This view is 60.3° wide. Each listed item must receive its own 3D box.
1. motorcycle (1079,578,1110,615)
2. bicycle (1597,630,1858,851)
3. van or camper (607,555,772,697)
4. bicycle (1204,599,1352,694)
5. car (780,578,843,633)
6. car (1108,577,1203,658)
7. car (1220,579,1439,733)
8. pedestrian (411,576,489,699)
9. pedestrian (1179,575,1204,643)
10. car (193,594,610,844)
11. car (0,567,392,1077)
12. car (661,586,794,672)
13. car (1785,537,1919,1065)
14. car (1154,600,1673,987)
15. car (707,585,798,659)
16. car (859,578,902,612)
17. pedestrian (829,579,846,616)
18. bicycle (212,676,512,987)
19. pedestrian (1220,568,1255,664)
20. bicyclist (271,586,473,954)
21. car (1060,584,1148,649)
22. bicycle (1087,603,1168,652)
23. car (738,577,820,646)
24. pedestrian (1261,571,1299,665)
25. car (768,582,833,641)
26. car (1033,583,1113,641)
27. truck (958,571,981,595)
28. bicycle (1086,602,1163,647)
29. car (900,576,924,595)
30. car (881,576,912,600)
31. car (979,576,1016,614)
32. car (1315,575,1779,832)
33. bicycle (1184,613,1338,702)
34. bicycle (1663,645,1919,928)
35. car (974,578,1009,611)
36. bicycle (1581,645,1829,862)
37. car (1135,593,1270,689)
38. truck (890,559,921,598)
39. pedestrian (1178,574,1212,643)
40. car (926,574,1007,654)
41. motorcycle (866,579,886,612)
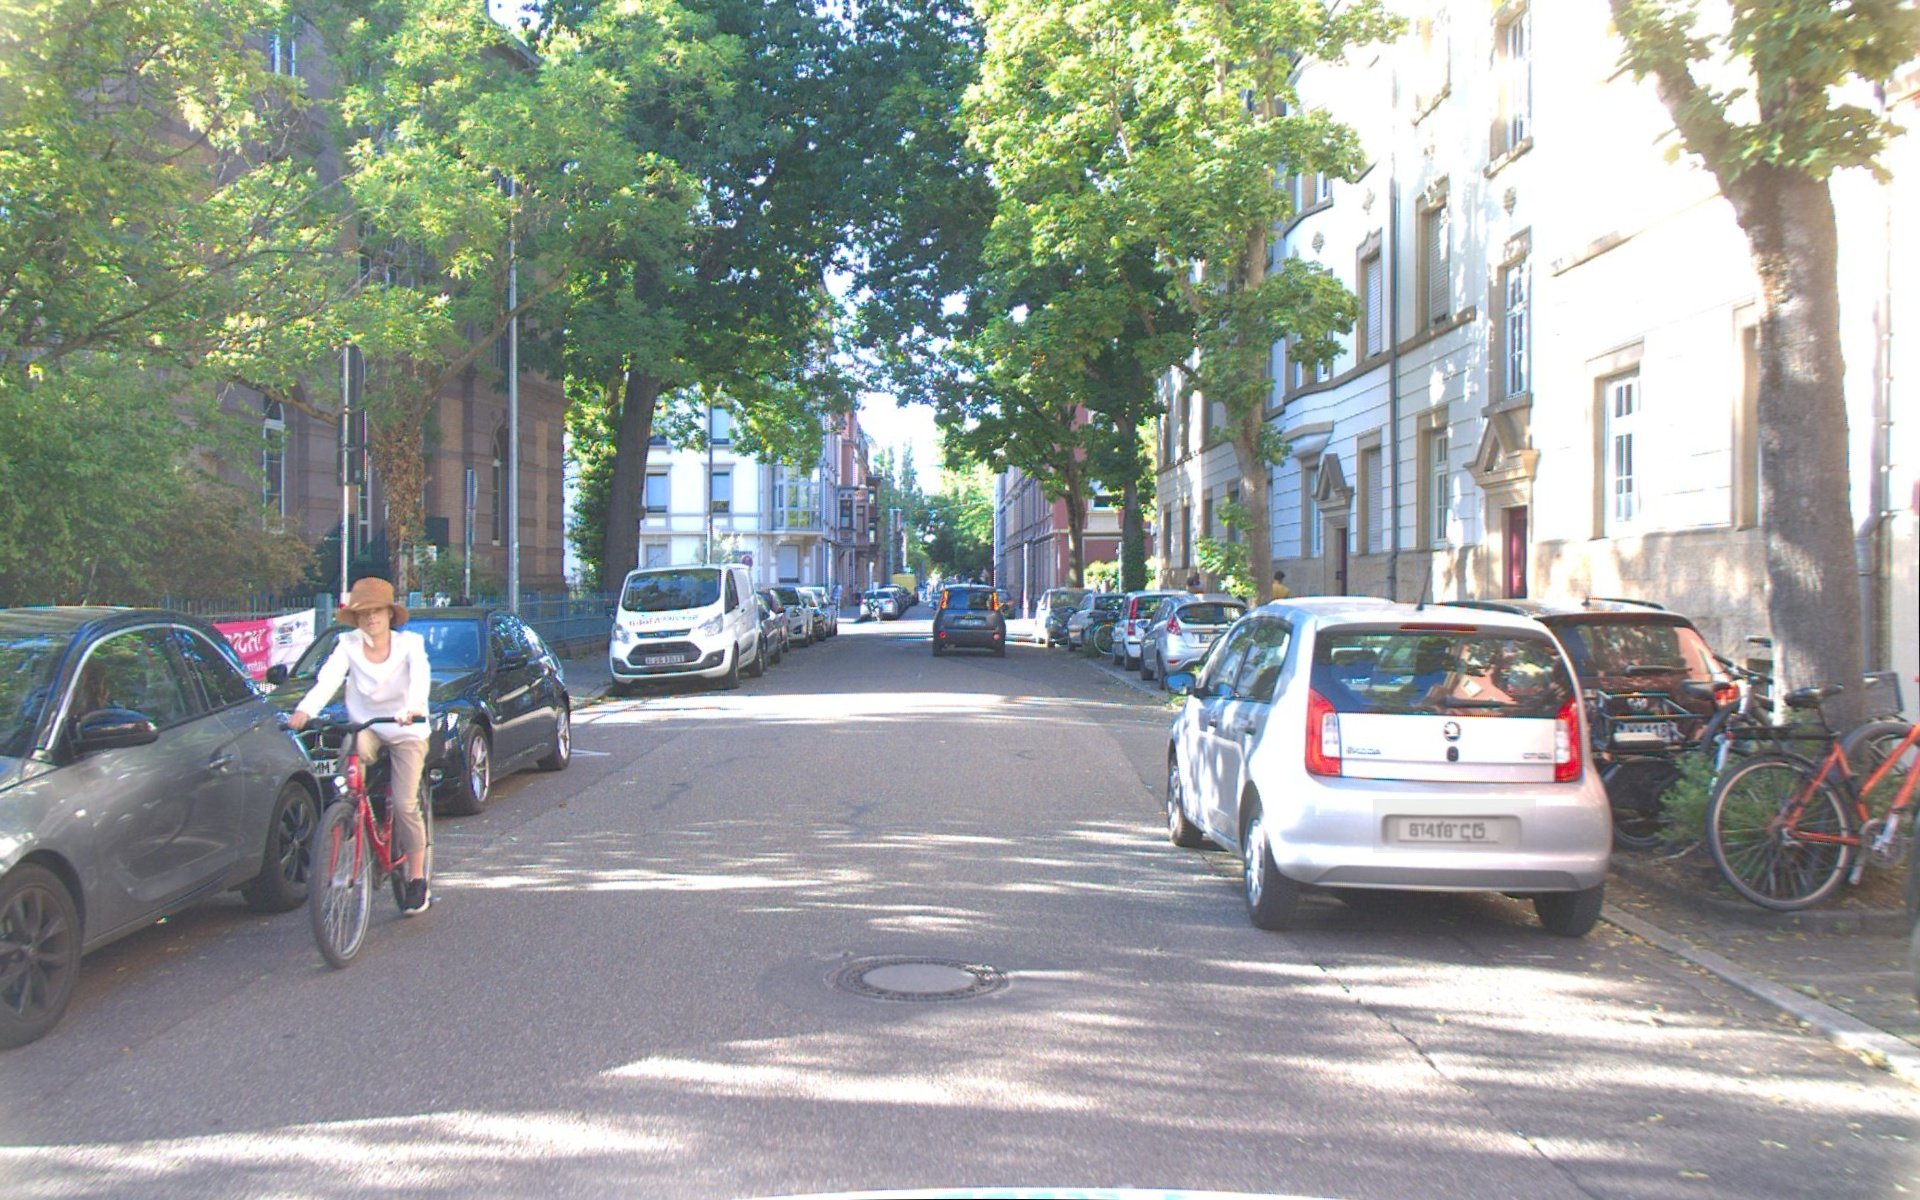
[{"bbox_3d":[5.628,-0.152,69.075,0.998,1.428,2.195,0,3,11],"label":"motorcycle"},{"bbox_3d":[4.243,0.769,9.168,1.281,1.160,0.328,-1,1,-1],"label":"bicycle"},{"bbox_3d":[-4.349,0.353,27.456,1.883,2.014,5.460,-3,1,-2],"label":"van or camper"},{"bbox_3d":[4.519,0.656,23.582,1.929,1.250,0.760,-2,0,0],"label":"bicycle"},{"bbox_3d":[-4.745,0.151,53.213,1.662,1.577,3.918,-3,1,-1],"label":"car"},{"bbox_3d":[3.890,0.303,33.306,1.489,1.537,3.543,0,1,0],"label":"car"},{"bbox_3d":[4.001,0.538,18.475,1.564,1.514,3.748,-1,1,0],"label":"car"},{"bbox_3d":[-6.779,0.493,22.015,0.863,1.604,0.529,0,0,0],"label":"pedestrian"},{"bbox_3d":[6.007,0.233,42.960,0.479,1.735,0.757,1,0,-2],"label":"pedestrian"},{"bbox_3d":[-4.061,0.748,12.932,1.679,1.419,4.778,-4,1,-2],"label":"car"},{"bbox_3d":[-3.867,0.719,6.635,1.642,1.600,4.152,-3,1,0],"label":"car"},{"bbox_3d":[-4.542,0.518,32.971,1.960,1.483,4.605,-2,1,-1],"label":"car"},{"bbox_3d":[4.144,0.679,3.852,1.847,1.746,4.942,-1,1,-2],"label":"car"},{"bbox_3d":[2.146,0.823,8.902,1.645,1.571,3.799,1,1,-2],"label":"car"},{"bbox_3d":[-4.688,0.452,37.872,1.569,1.485,4.027,-3,1,-1],"label":"car"},{"bbox_3d":[-3.807,-0.249,79.928,1.760,1.456,3.925,-4,1,0],"label":"car"},{"bbox_3d":[-6.247,-0.145,84.242,0.707,1.871,0.627,1,1,10],"label":"pedestrian"},{"bbox_3d":[-2.529,0.928,7.208,0.651,1.096,1.686,1,0,1],"label":"bicycle"},{"bbox_3d":[5.206,0.287,31.067,0.509,1.765,0.878,-1,1,1],"label":"pedestrian"},{"bbox_3d":[-2.553,0.708,7.238,0.638,1.535,0.625,1,0,1],"label":"bicyclist"},{"bbox_3d":[3.569,0.374,41.467,1.579,1.504,3.867,0,1,-5],"label":"car"},{"bbox_3d":[3.723,0.600,36.830,1.733,1.057,0.606,1,1,-1],"label":"bicycle"},{"bbox_3d":[-4.673,0.254,43.202,1.789,1.581,4.131,-4,1,-3],"label":"car"},{"bbox_3d":[5.990,0.328,30.980,0.583,1.731,0.689,1,0,1],"label":"pedestrian"},{"bbox_3d":[-4.664,0.288,48.114,1.713,1.500,4.458,-4,1,-6],"label":"car"},{"bbox_3d":[3.153,0.296,46.948,1.753,1.578,4.407,0,1,-3],"label":"car"},{"bbox_3d":[0.834,-1.512,146.308,1.953,2.026,4.000,0,1,-1],"label":"truck"},{"bbox_3d":[3.773,0.559,38.052,1.680,0.966,0.733,-1,1,-1],"label":"bicycle"},{"bbox_3d":[-4.308,-1.282,147.798,1.922,1.504,3.925,-4,1,0],"label":"car"},{"bbox_3d":[-4.528,-0.870,118.422,1.922,1.504,3.925,-4,1,0],"label":"car"},{"bbox_3d":[1.750,-0.248,77.548,1.629,1.698,3.757,1,1,0],"label":"car"},{"bbox_3d":[4.037,0.598,12.253,1.750,1.540,4.459,1,1,-1],"label":"car"},{"bbox_3d":[4.008,0.761,22.092,1.929,1.091,0.599,-2,0,0],"label":"bicycle"},{"bbox_3d":[4.302,0.831,7.717,1.774,1.187,0.569,-2,1,-2],"label":"bicycle"},{"bbox_3d":[1.540,-0.296,82.039,1.629,1.531,3.757,1,1,0],"label":"car"},{"bbox_3d":[3.961,0.808,8.817,1.176,1.094,0.298,-1,0,-2],"label":"bicycle"},{"bbox_3d":[3.935,0.612,27.375,1.589,1.418,4.157,-1,1,0],"label":"car"},{"bbox_3d":[-4.342,-1.740,132.527,2.028,2.976,5.068,-4,1,0],"label":"truck"},{"bbox_3d":[5.955,0.213,41.947,0.761,1.724,0.875,1,0,2],"label":"pedestrian"},{"bbox_3d":[0.098,0.267,36.492,1.600,1.577,3.263,2,2,-3],"label":"car"},{"bbox_3d":[-3.908,-0.225,76.629,0.684,1.486,1.747,-1,1,-10],"label":"motorcycle"}]
